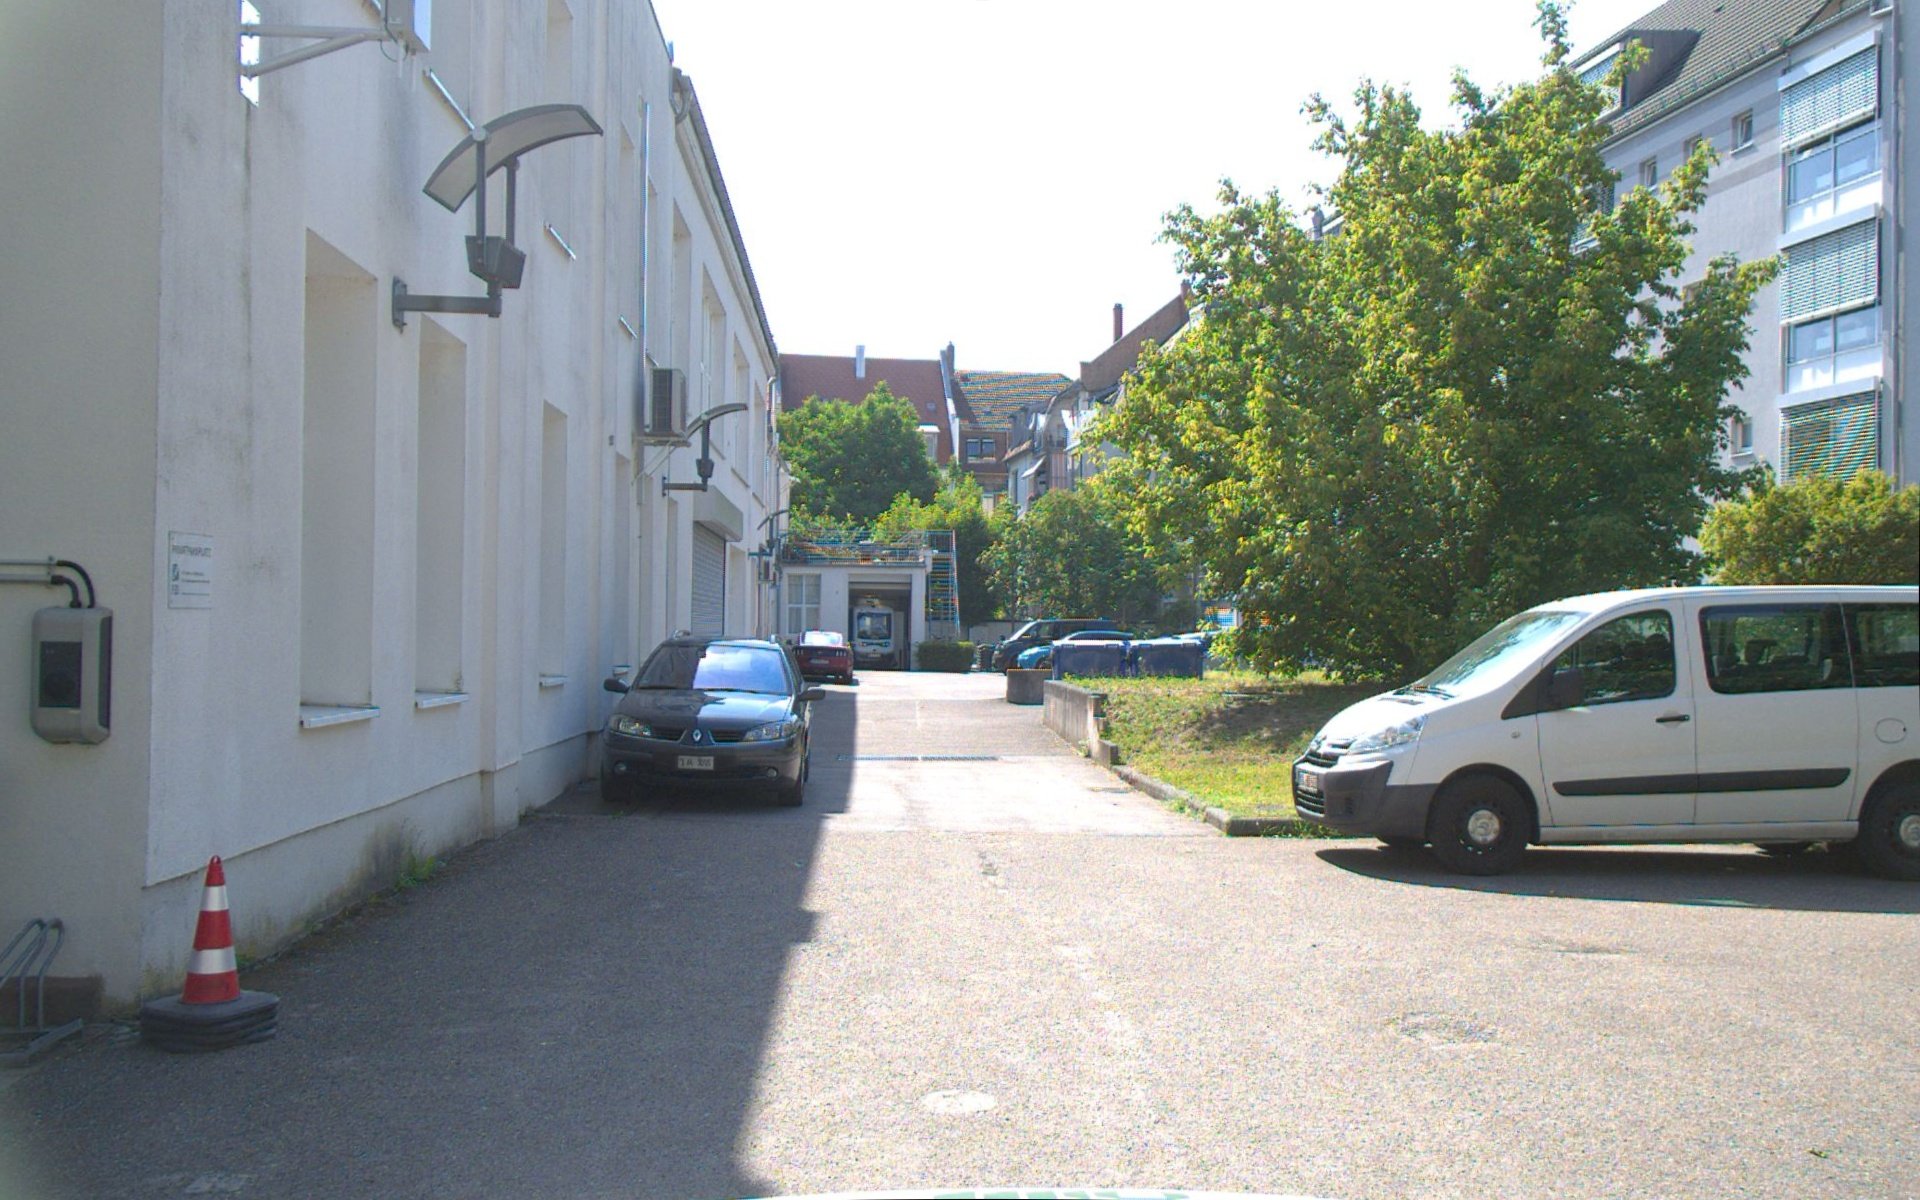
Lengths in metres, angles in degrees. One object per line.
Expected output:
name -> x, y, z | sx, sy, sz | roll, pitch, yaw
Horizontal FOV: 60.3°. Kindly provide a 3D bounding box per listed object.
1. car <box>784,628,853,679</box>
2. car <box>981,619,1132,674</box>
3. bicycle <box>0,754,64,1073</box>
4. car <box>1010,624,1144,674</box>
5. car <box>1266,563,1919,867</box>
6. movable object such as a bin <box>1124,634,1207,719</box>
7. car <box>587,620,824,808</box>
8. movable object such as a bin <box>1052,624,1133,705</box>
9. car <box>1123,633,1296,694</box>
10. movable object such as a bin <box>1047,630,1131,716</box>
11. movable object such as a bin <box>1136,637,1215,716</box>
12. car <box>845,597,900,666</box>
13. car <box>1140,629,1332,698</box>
car -> -4.017, 1.504, 47.255 | 1.815, 1.343, 3.996 | 2, -1, -4
car -> 3.373, 1.595, 58.019 | 4.871, 1.798, 2.087 | 0, 0, -16
bicycle -> -3.365, 1.048, 5.048 | 0.435, 1.010, 1.541 | 0, 0, -1
car -> 3.850, 1.609, 54.792 | 4.148, 1.559, 1.997 | 0, 0, -7
car -> 4.859, 0.777, 11.856 | 4.923, 1.967, 1.999 | 1, -1, -3
movable object such as a bin -> 3.393, 1.254, 27.423 | 1.222, 1.364, 1.142 | 0, -1, -1
car -> -2.240, 1.027, 15.641 | 1.801, 1.467, 4.425 | 2, -3, -4
movable object such as a bin -> 2.313, 1.115, 28.989 | 1.223, 1.379, 1.127 | 0, -1, -7
car -> 6.044, 1.526, 40.334 | 3.908, 1.418, 1.687 | 0, -1, -4
movable object such as a bin -> 2.111, 1.197, 27.291 | 1.222, 1.342, 1.141 | -2, -2, -2
movable object such as a bin -> 3.784, 1.328, 29.114 | 1.133, 1.360, 1.140 | 0, -1, -7
car -> -3.554, 1.306, 67.147 | 2.131, 2.653, 6.729 | 0, -1, -3
car -> 6.127, 1.393, 36.942 | 3.910, 1.452, 1.809 | 0, -1, -7
